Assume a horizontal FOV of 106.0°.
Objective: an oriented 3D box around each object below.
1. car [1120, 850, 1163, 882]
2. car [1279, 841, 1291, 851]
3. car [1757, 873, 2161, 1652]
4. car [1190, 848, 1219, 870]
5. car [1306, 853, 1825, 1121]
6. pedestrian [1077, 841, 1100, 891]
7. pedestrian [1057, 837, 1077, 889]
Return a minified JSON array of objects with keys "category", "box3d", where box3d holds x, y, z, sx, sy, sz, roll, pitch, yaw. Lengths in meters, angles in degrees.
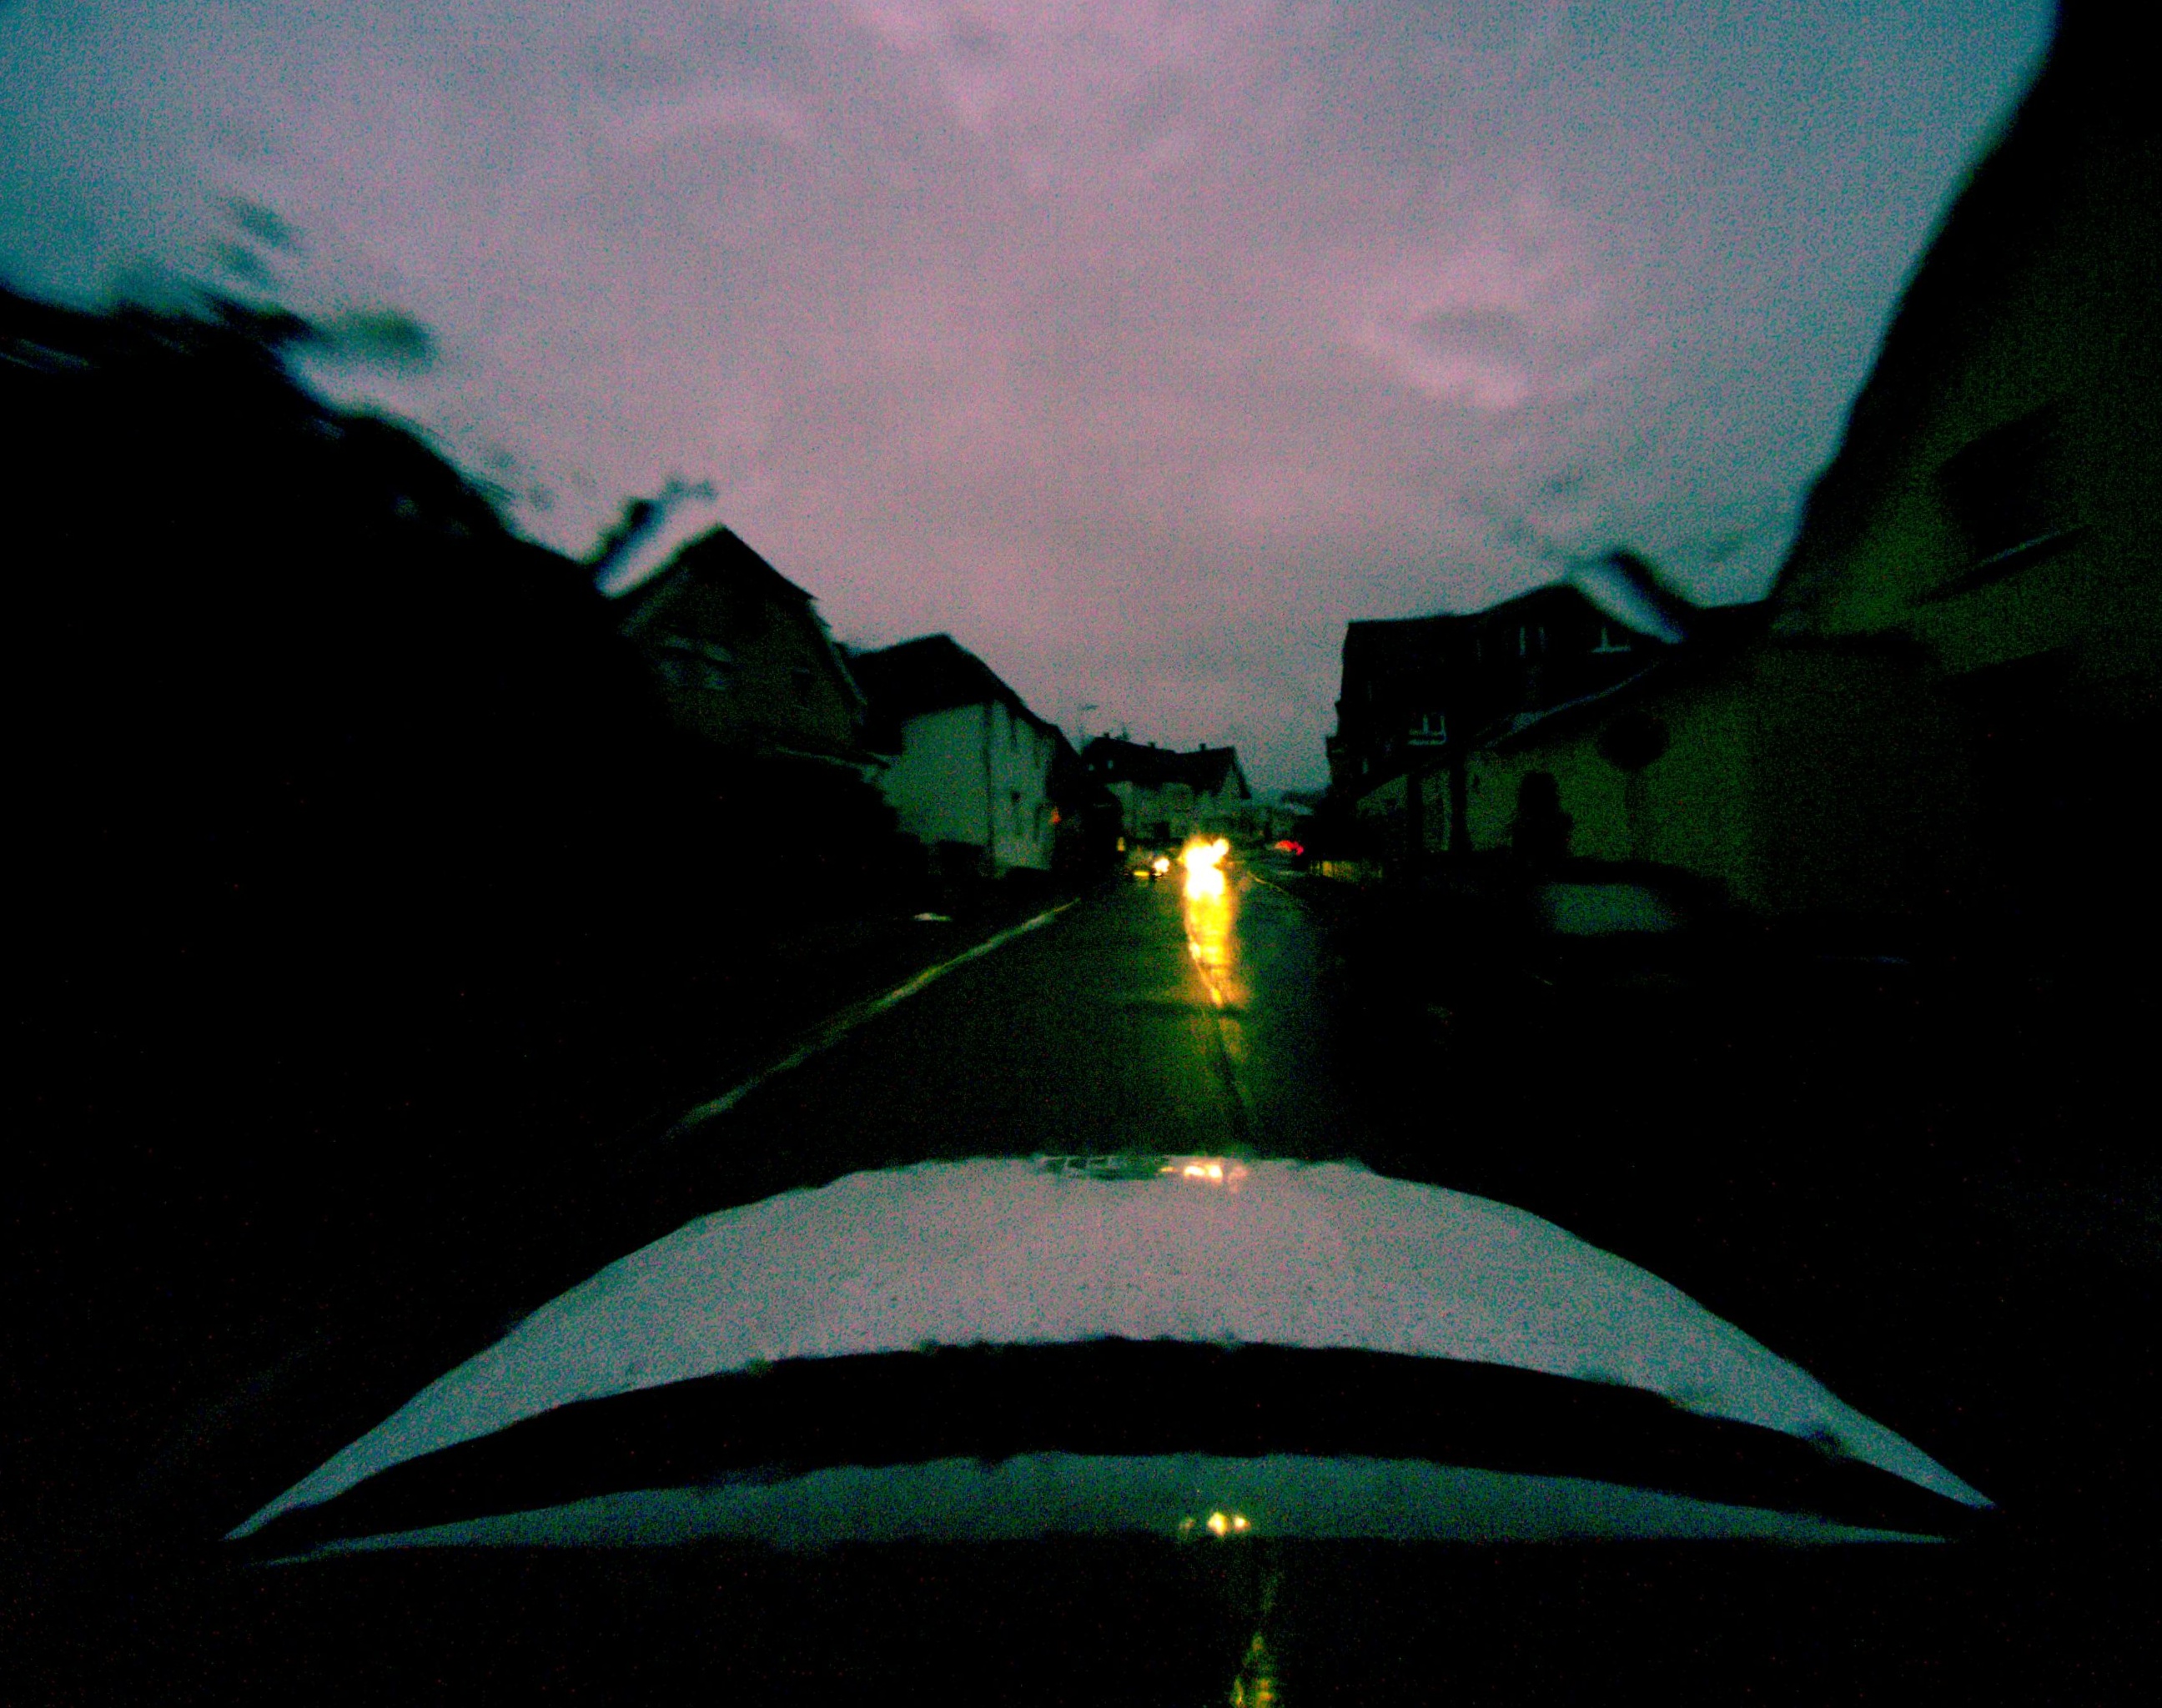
[{"category":"car","box3d":[3.029,0.537,39.990,1.813,1.440,4.077,-1,0,8]},{"category":"car","box3d":[35.598,-1.343,142.078,1.980,1.618,4.013,0,-1,12]},{"category":"car","box3d":[2.816,0.758,0.146,1.782,1.439,4.628,-1,-1,4]},{"category":"car","box3d":[9.346,0.376,61.307,1.745,1.581,4.015,-1,-1,14]},{"category":"car","box3d":[3.269,0.750,6.812,1.718,1.432,4.802,-1,-1,4]},{"category":"pedestrian","box3d":[0.267,0.428,29.680,0.702,1.779,0.814,-1,-1,8]},{"category":"pedestrian","box3d":[-0.509,0.316,29.845,0.594,1.869,0.814,-1,-1,8]}]
